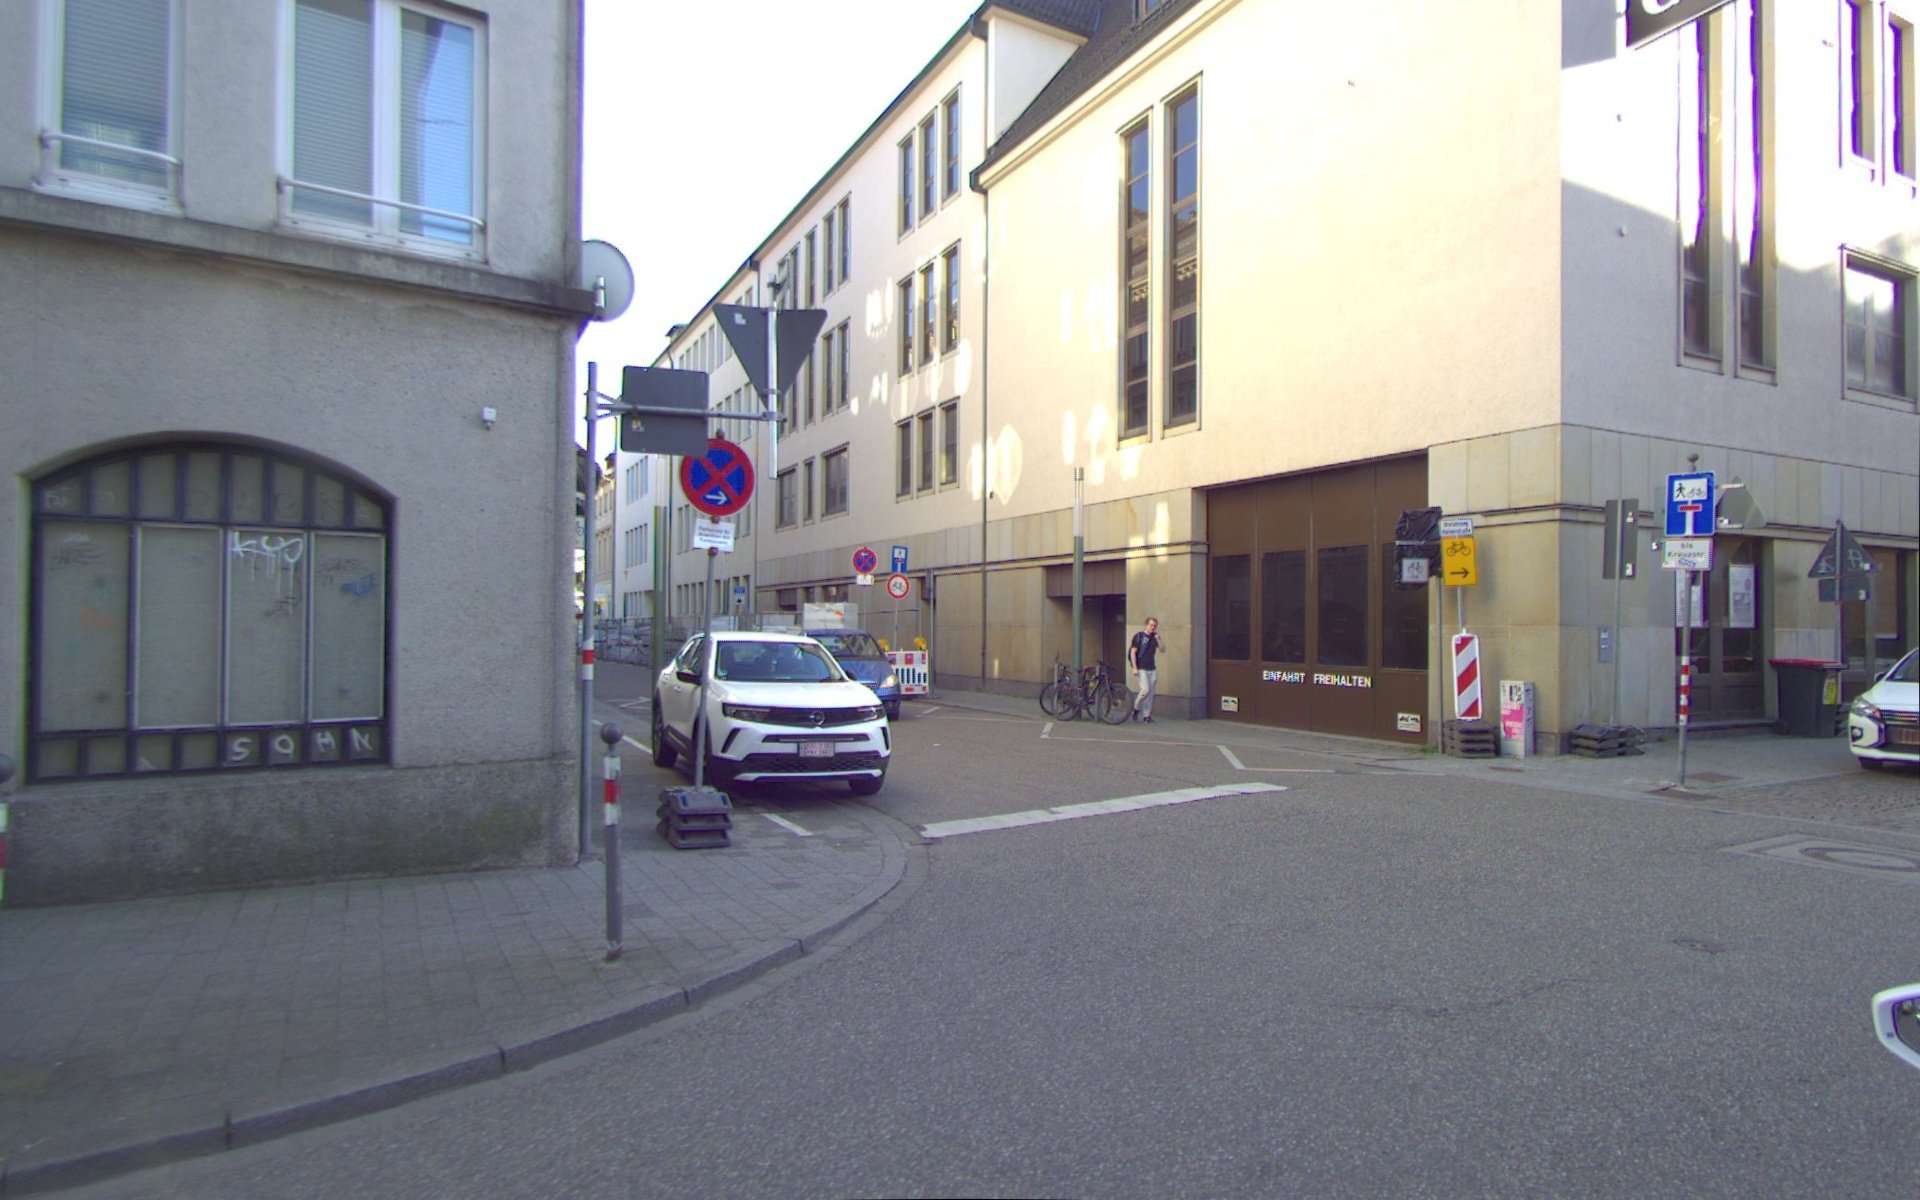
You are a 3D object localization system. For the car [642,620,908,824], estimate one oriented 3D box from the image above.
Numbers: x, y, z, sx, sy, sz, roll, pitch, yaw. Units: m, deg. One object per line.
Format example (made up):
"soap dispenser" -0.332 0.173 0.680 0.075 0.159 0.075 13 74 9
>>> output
"car" -2.108 1.074 10.475 1.740 1.677 3.974 1 -2 -26

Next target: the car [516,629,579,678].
"car" -13.135 1.659 31.882 1.659 1.461 3.560 1 -2 -25

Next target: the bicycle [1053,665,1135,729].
"bicycle" 2.291 1.654 17.347 0.223 0.978 1.680 1 -1 -40

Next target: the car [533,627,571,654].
"car" -26.432 2.603 64.971 1.825 1.690 3.776 1 -2 -30

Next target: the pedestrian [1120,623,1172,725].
"pedestrian" 3.232 1.261 17.445 0.681 1.725 0.663 0 0 35

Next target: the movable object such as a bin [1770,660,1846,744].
"movable object such as a bin" 11.797 1.401 13.974 0.706 1.075 0.605 1 1 -33

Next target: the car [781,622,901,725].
"car" -2.296 1.319 18.519 1.733 1.677 3.991 1 -3 -14

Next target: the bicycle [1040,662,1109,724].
"bicycle" 2.039 1.659 18.088 0.268 1.017 1.472 1 -1 -38

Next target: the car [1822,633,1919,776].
"car" 11.825 1.142 11.609 3.749 1.526 1.663 1 -3 -30
